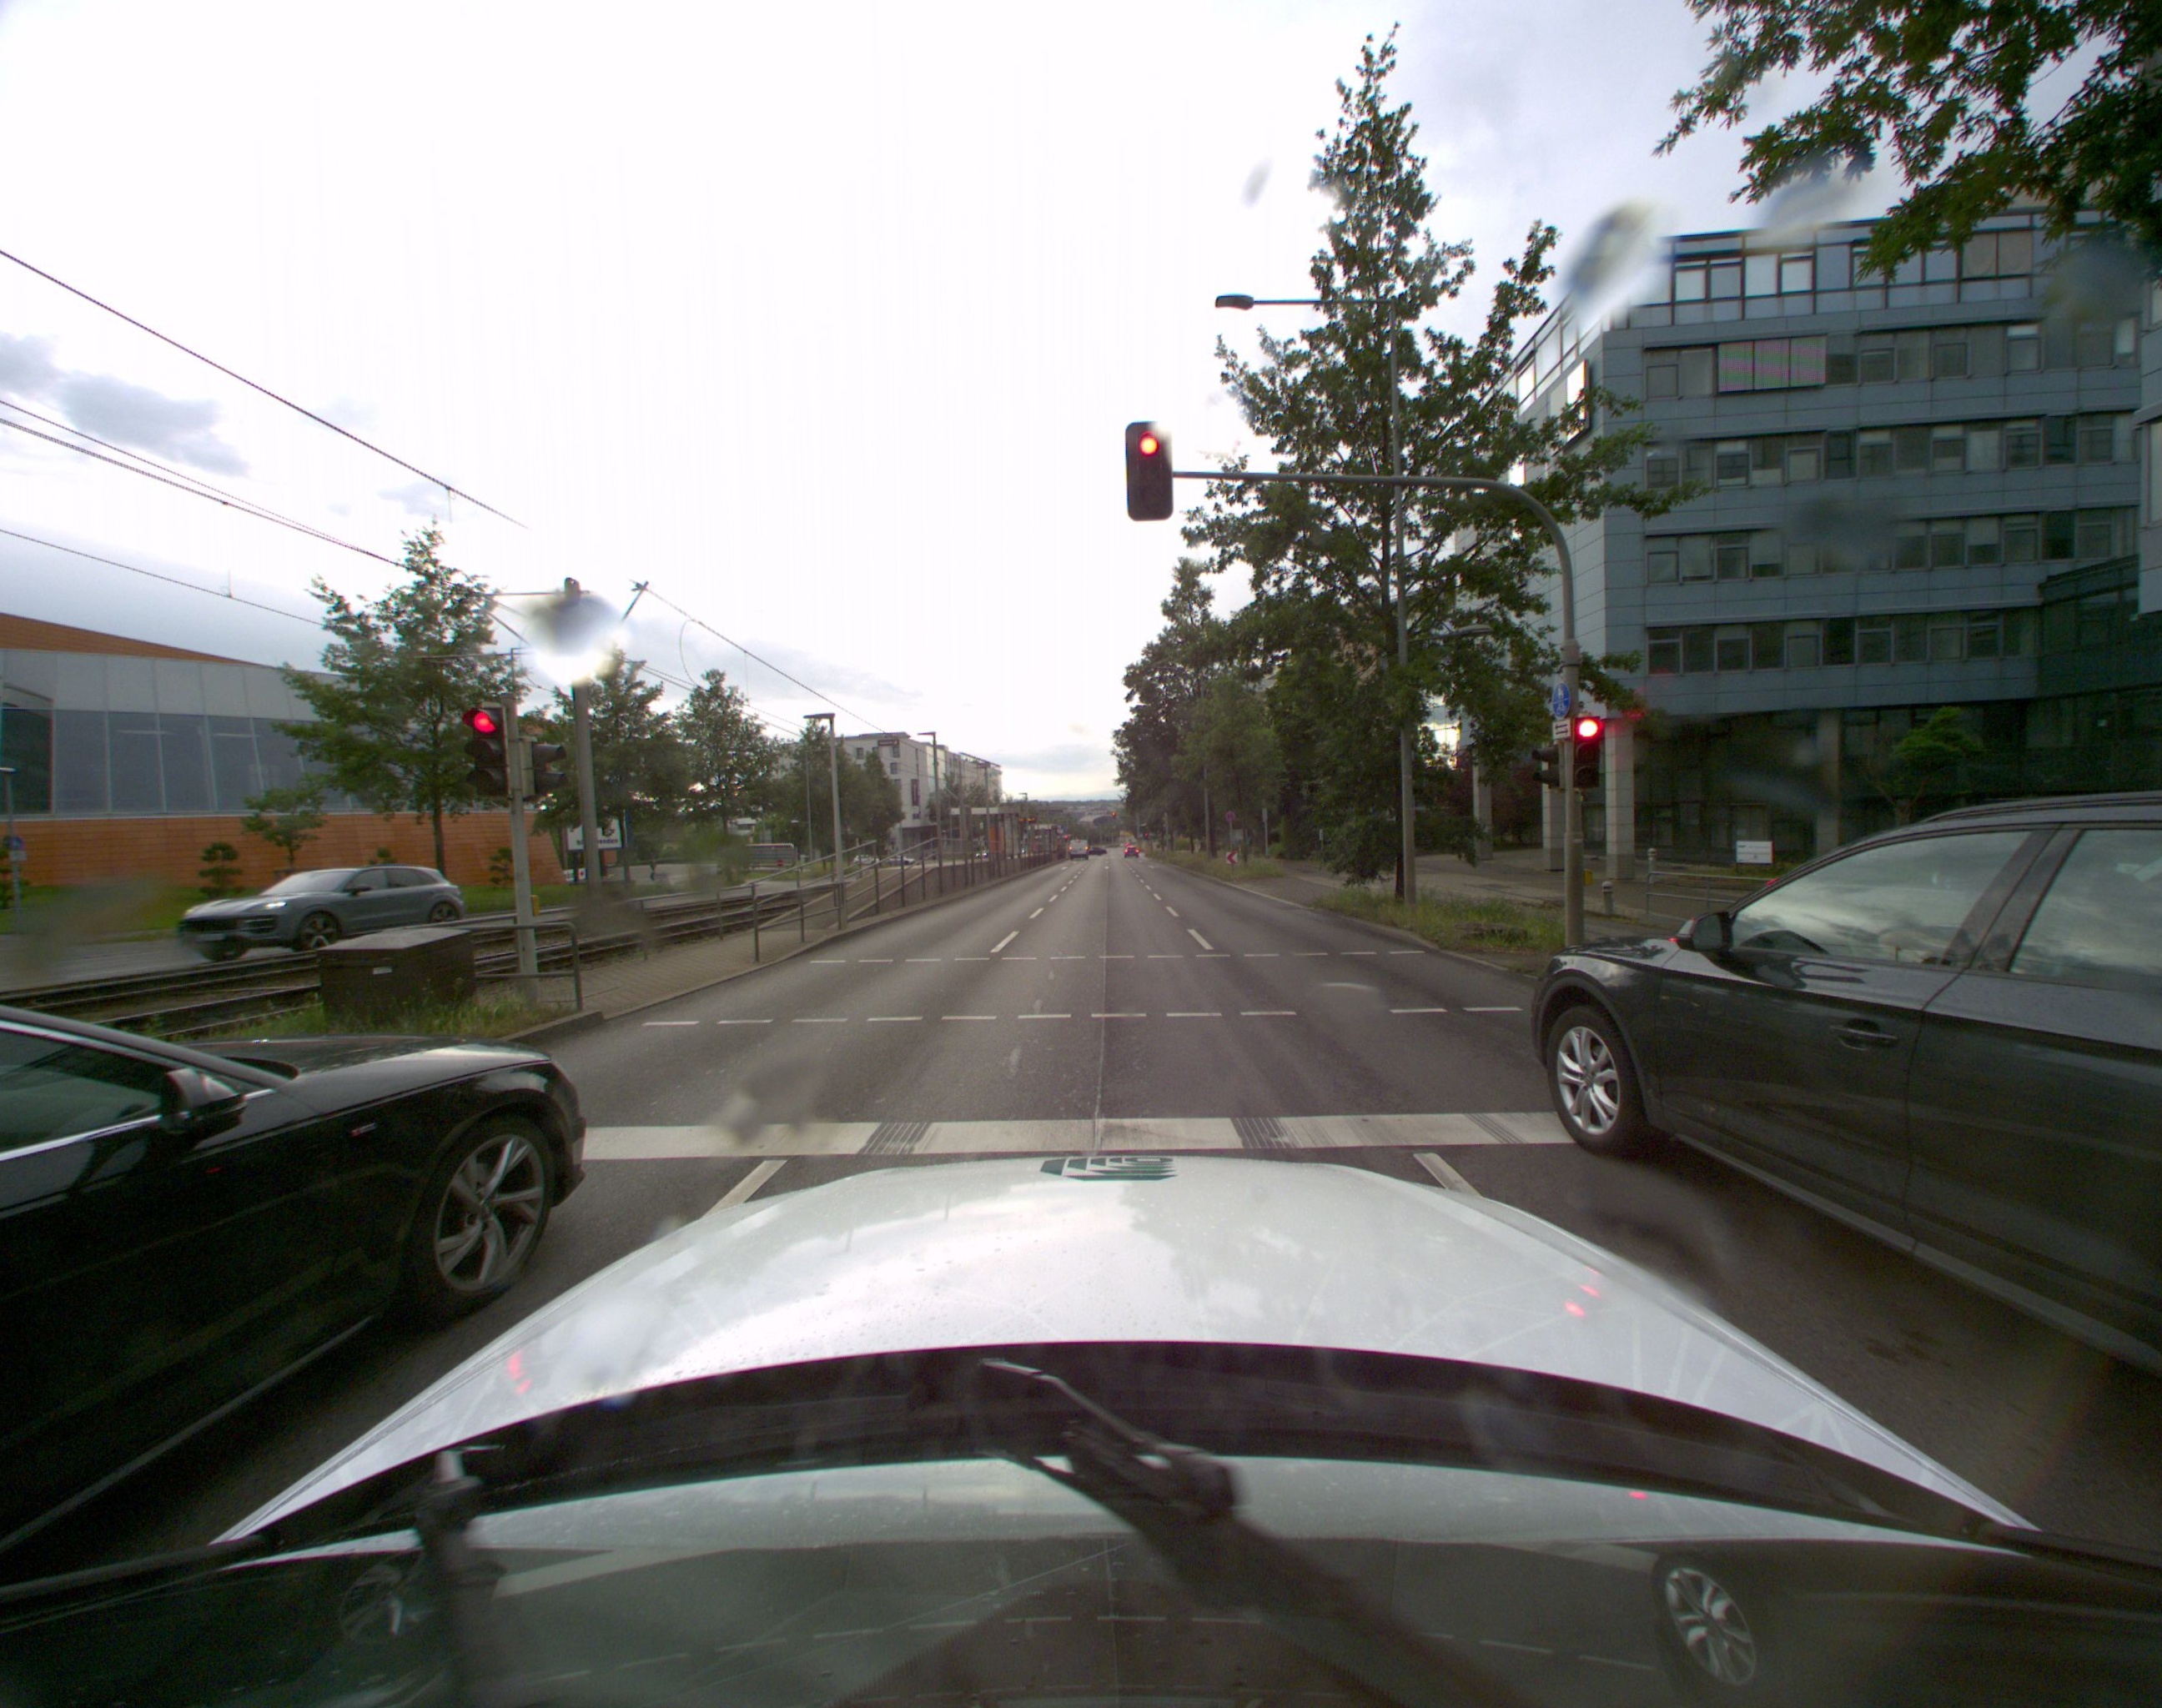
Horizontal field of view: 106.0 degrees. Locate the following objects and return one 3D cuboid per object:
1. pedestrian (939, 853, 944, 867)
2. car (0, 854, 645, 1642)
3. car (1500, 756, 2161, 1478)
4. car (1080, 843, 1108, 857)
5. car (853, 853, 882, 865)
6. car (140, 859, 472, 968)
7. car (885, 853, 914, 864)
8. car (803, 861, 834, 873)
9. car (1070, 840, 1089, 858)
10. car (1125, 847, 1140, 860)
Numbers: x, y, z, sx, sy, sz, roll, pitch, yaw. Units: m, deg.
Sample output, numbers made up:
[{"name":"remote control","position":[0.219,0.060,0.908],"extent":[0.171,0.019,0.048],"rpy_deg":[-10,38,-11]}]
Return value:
[{"name":"pedestrian","position":[-18.168,0.783,105.953],"extent":[0.473,1.920,0.490],"rpy_deg":[-1,0,1]},{"name":"car","position":[-2.941,0.771,1.437],"extent":[1.774,1.466,4.515],"rpy_deg":[-1,0,2]},{"name":"car","position":[3.326,0.565,2.550],"extent":[1.811,1.612,4.472],"rpy_deg":[-1,0,2]},{"name":"car","position":[2.006,-0.615,124.565],"extent":[3.982,2.013,1.756],"rpy_deg":[-1,0,-7]},{"name":"car","position":[-32.141,0.762,122.840],"extent":[4.094,1.436,1.648],"rpy_deg":[-4,0,-13]},{"name":"car","position":[-15.424,1.062,16.725],"extent":[1.986,1.719,4.843],"rpy_deg":[-3,0,2]},{"name":"car","position":[-26.606,0.647,119.396],"extent":[3.838,1.436,1.663],"rpy_deg":[-4,0,16]},{"name":"car","position":[-31.500,1.597,97.829],"extent":[3.341,1.387,1.440],"rpy_deg":[-1,1,18]},{"name":"car","position":[-0.192,-0.593,94.333],"extent":[2.086,2.053,4.607],"rpy_deg":[-1,0,1]},{"name":"car","position":[6.458,-0.080,103.109],"extent":[1.767,1.691,3.847],"rpy_deg":[-1,0,2]}]
